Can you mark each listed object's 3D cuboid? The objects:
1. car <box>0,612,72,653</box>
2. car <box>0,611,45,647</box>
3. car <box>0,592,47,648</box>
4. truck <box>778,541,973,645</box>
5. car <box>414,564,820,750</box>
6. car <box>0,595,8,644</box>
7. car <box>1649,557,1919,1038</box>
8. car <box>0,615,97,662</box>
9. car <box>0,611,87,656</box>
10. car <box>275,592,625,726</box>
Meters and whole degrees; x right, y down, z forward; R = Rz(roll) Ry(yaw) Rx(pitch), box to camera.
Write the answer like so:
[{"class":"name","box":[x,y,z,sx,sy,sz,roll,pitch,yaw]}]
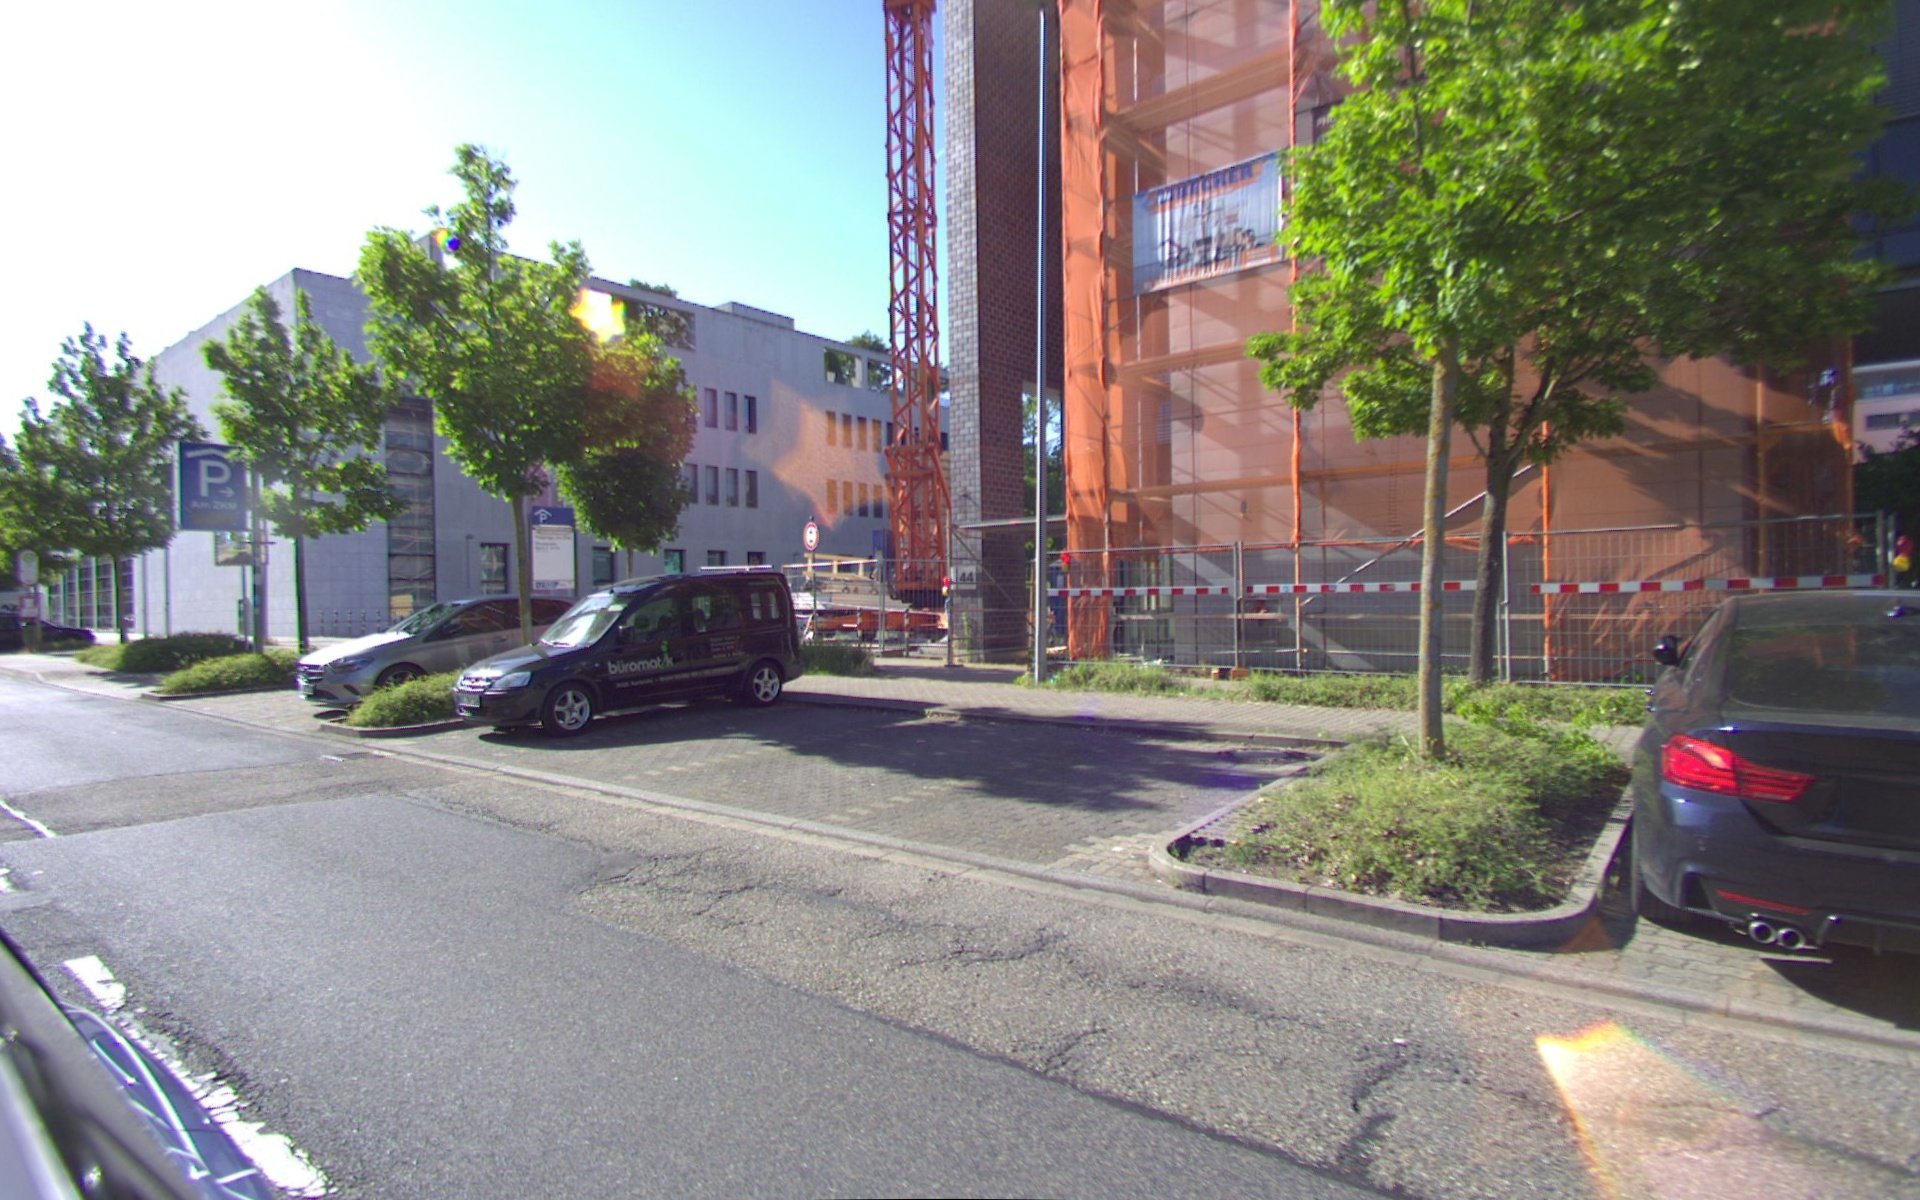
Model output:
[{"class":"car","box":[-39.629,1.406,41.731,1.691,1.525,4.264,-1,2,38]},{"class":"car","box":[-43.073,1.358,44.253,1.691,1.525,4.264,-1,2,38]},{"class":"car","box":[-45.707,1.035,46.325,2.009,2.501,5.512,-1,2,41]},{"class":"truck","box":[-2.340,-0.158,29.727,2.268,2.751,5.782,-1,-1,41]},{"class":"car","box":[-3.982,0.527,12.389,1.846,1.758,4.341,-1,2,40]},{"class":"car","box":[-54.759,1.221,54.020,2.009,2.657,5.512,-1,2,41]},{"class":"car","box":[4.518,0.564,4.814,1.973,1.442,4.348,-1,2,35]},{"class":"car","box":[-34.568,1.433,37.038,1.716,1.525,4.264,-1,2,38]},{"class":"car","box":[-37.779,1.384,40.326,1.691,1.595,4.264,-1,2,38]},{"class":"car","box":[-7.462,0.758,15.193,1.693,1.525,4.341,-1,2,41]}]
